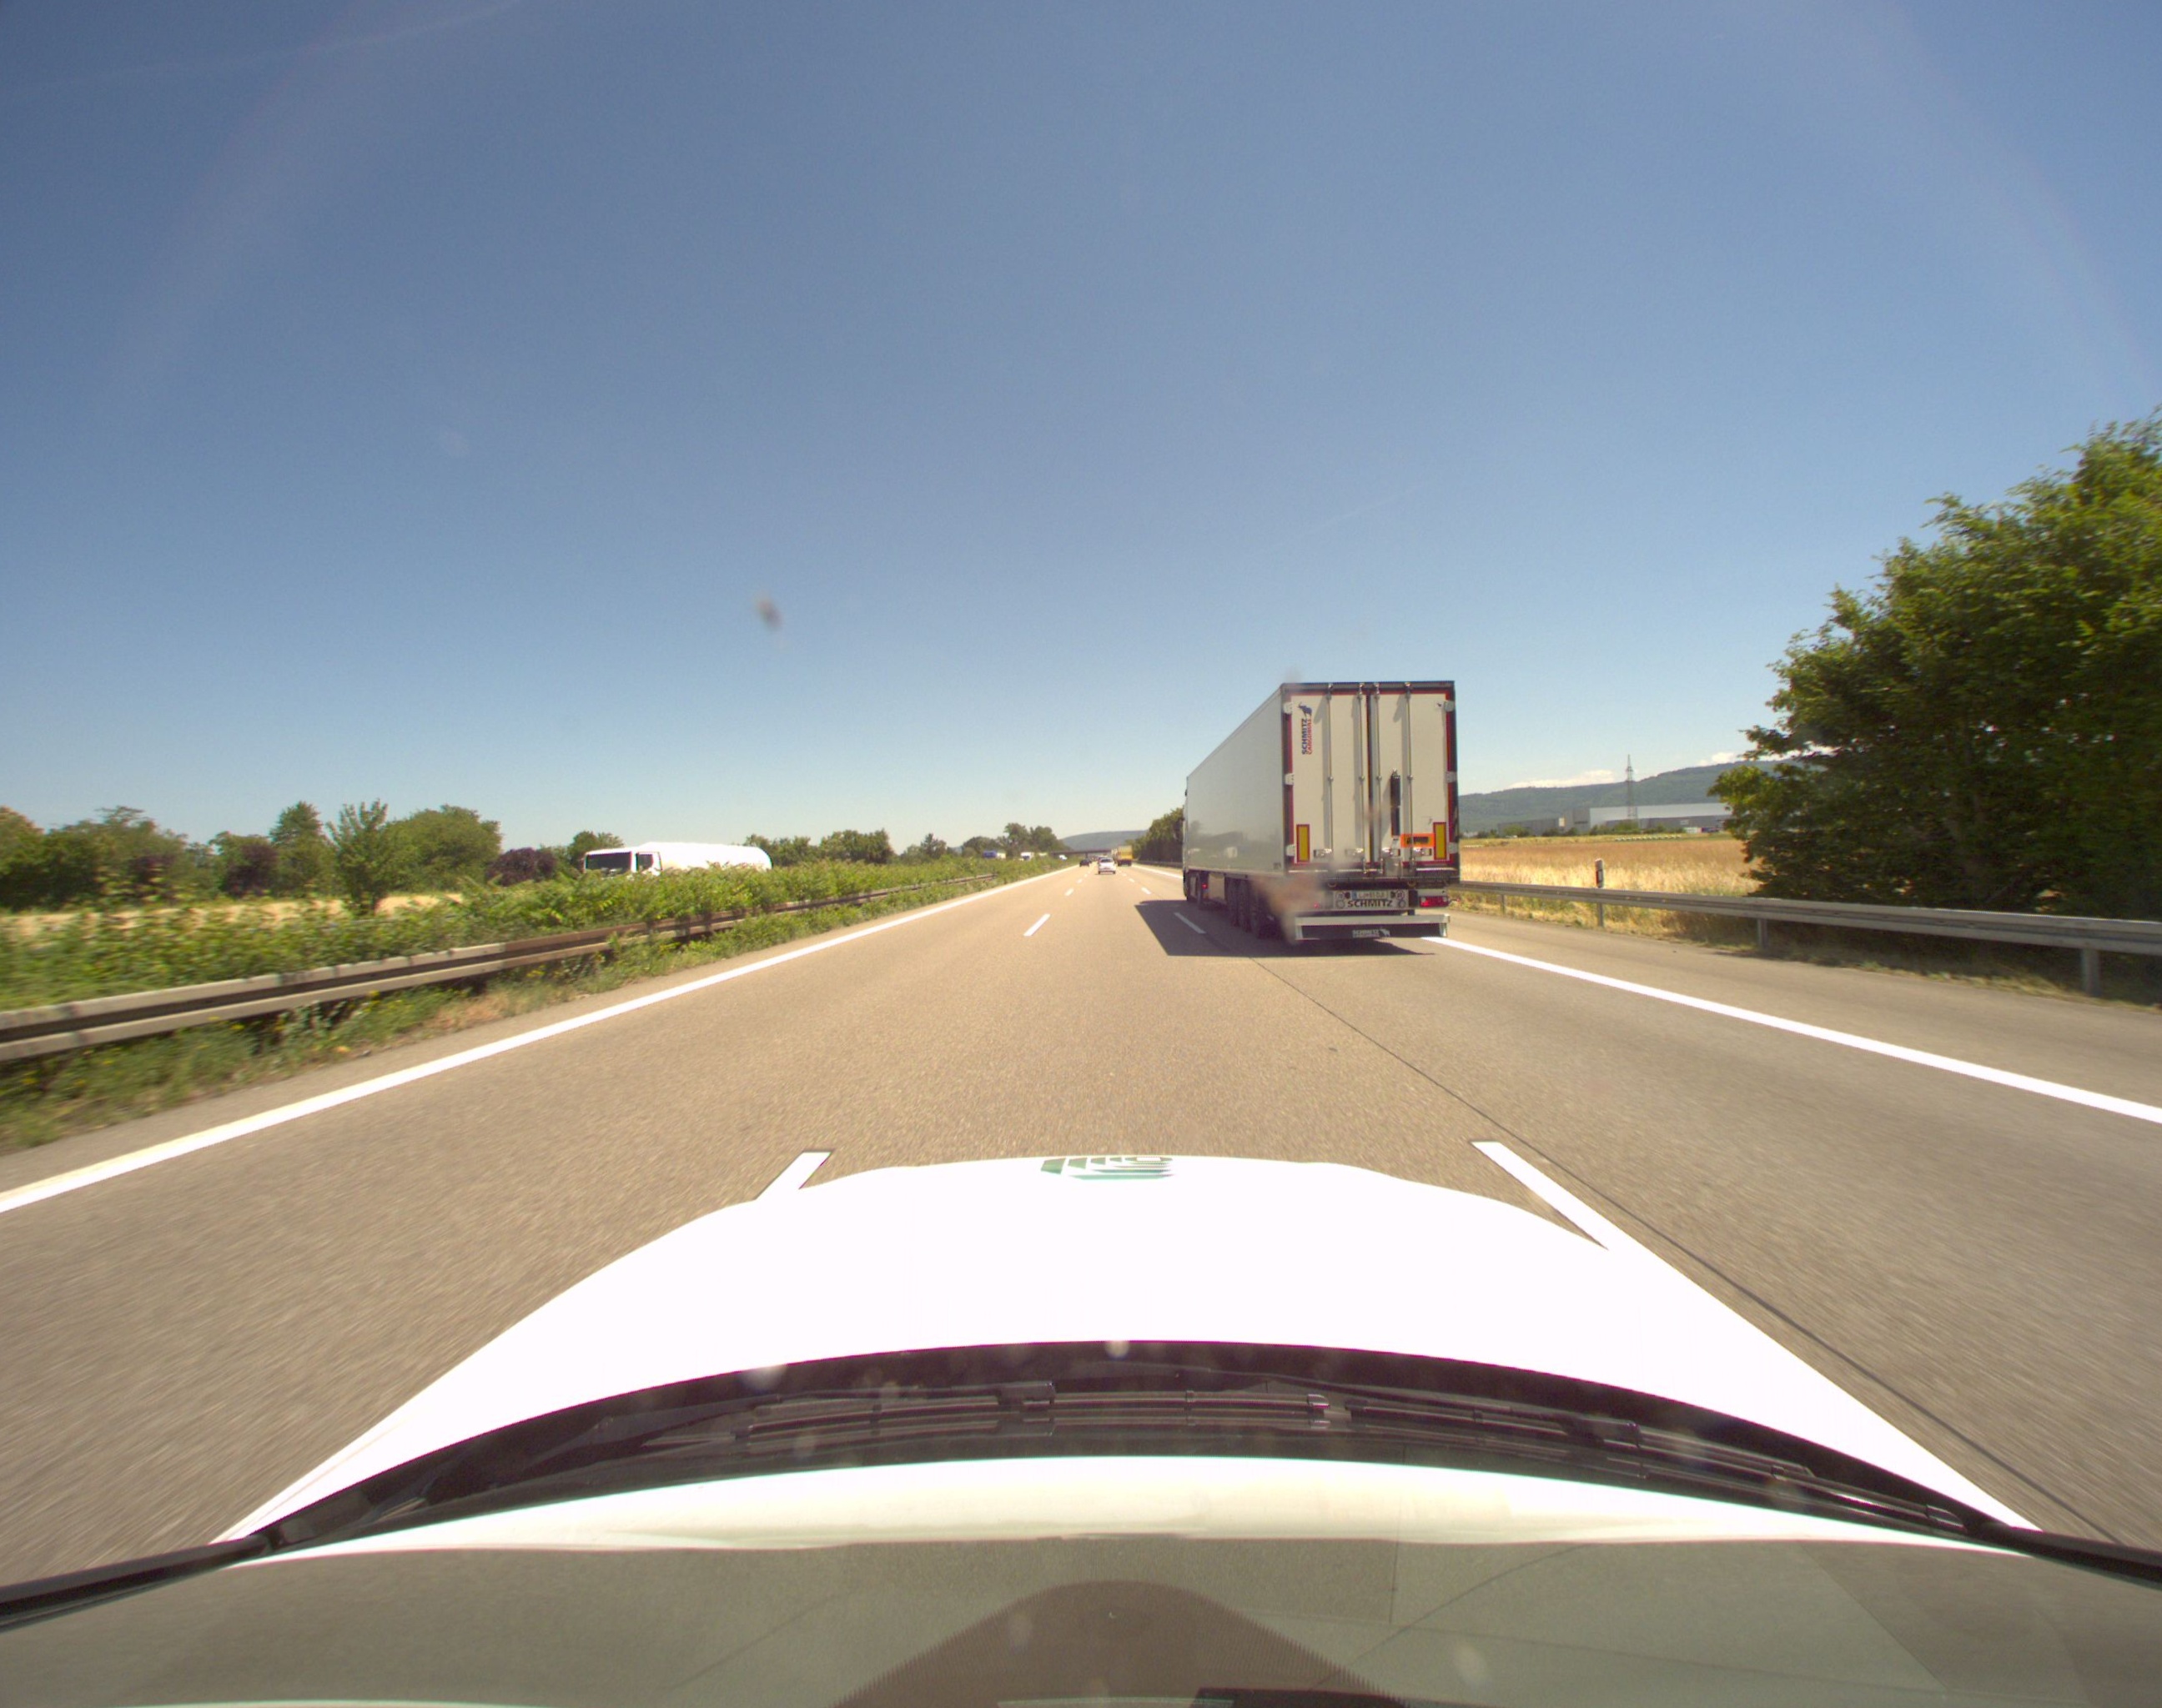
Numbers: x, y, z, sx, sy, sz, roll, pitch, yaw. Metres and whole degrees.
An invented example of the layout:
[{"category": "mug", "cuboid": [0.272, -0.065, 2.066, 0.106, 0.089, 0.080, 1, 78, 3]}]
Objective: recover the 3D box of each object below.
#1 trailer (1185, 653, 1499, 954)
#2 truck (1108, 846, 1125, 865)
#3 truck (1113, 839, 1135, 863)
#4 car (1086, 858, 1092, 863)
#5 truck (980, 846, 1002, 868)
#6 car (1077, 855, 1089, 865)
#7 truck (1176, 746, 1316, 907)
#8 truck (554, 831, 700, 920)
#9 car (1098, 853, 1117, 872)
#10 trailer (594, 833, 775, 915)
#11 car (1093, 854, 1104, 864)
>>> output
[{"category": "trailer", "cuboid": [4.653, -0.739, 18.646, 3.206, 4.345, 13.634, 0, 0, 2]}, {"category": "truck", "cuboid": [9.192, 0.467, 213.636, 4.255, 4.652, 13.866, -1, 0, 2]}, {"category": "truck", "cuboid": [7.977, -0.498, 153.780, 3.857, 4.345, 13.866, 0, 0, 2]}, {"category": "car", "cuboid": [2.256, 1.885, 232.570, 1.788, 1.551, 4.002, -1, 0, 2]}, {"category": "truck", "cuboid": [-16.352, 0.621, 148.725, 3.123, 3.832, 5.835, -2, 0, 1]}, {"category": "car", "cuboid": [0.344, 1.126, 150.098, 1.986, 1.712, 4.001, -3, 0, 1]}, {"category": "truck", "cuboid": [4.852, -0.757, 25.392, 3.206, 4.345, 6.593, 0, 0, 2]}, {"category": "truck", "cuboid": [-19.760, 0.886, 35.867, 3.216, 3.516, 5.435, -2, 0, 1]}, {"category": "car", "cuboid": [2.517, 0.778, 78.776, 1.726, 1.684, 4.001, -2, 0, 1]}, {"category": "trailer", "cuboid": [-19.630, 0.908, 41.654, 3.216, 3.516, 11.772, -2, 0, 1]}, {"category": "car", "cuboid": [3.062, 0.953, 143.139, 1.780, 1.712, 4.001, 0, 0, 1]}]
